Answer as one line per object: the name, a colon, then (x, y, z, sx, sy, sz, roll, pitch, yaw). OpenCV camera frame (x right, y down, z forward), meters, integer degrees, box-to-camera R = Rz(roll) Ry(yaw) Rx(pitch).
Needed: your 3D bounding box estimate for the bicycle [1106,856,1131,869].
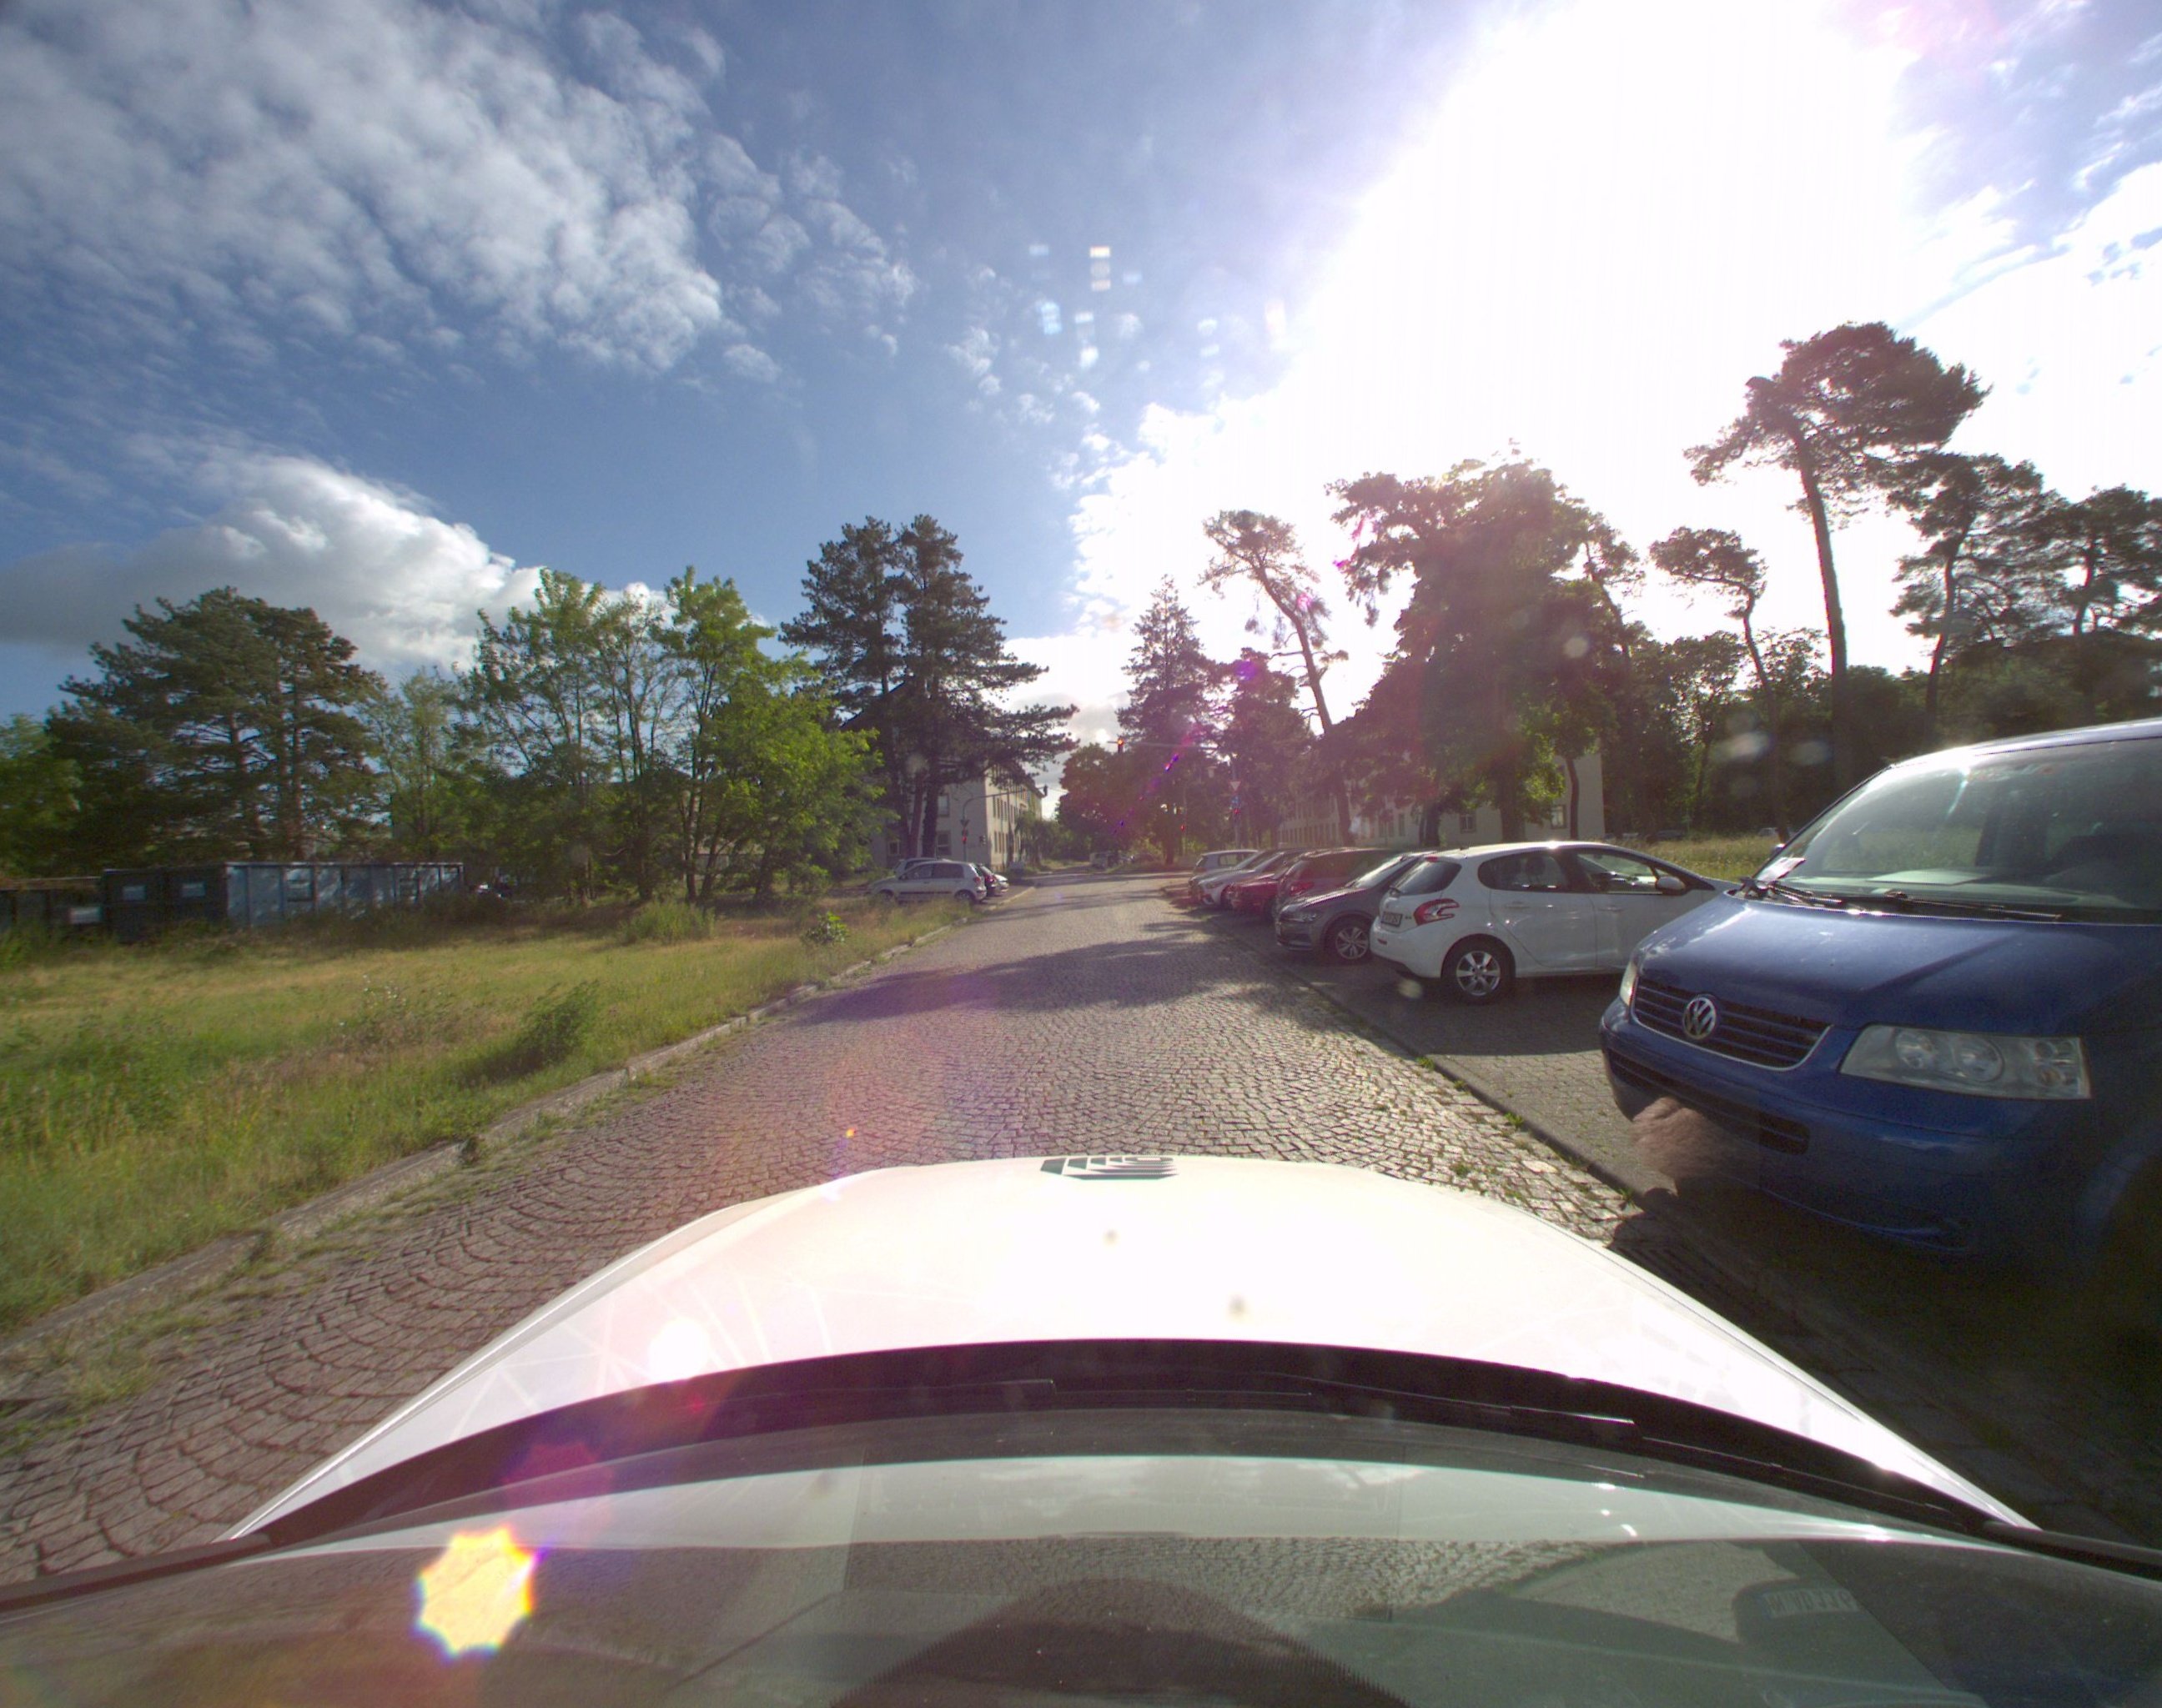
bicycle: (3.522, 0.767, 75.952, 2.172, 1.100, 0.804, -2, 0, -9)

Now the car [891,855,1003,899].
car: (-5.148, 0.871, 31.688, 3.973, 1.601, 2.000, 1, 0, 0)

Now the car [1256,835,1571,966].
car: (4.476, 0.603, 11.357, 3.663, 1.467, 1.645, -4, 0, 0)

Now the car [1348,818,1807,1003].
car: (4.915, 0.532, 8.461, 3.680, 1.465, 1.646, -4, 0, 2)

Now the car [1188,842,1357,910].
car: (4.977, 0.556, 21.503, 4.024, 1.529, 1.644, -3, 0, -3)

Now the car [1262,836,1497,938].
car: (5.116, 0.546, 14.267, 3.467, 1.529, 1.645, -3, 0, 0)

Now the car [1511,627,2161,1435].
car: (4.580, 0.343, 3.180, 4.664, 2.013, 2.082, -3, 0, -2)

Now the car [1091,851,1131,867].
car: (3.462, 0.586, 93.433, 4.465, 1.728, 2.000, -2, 0, 0)

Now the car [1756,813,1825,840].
car: (59.618, -2.295, 68.450, 3.973, 2.013, 2.001, -3, 0, 1)

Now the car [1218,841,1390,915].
car: (5.208, 0.544, 19.317, 3.591, 1.529, 1.645, -3, 0, 0)

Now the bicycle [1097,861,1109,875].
bicycle: (1.955, 1.251, 72.512, 0.803, 1.169, 2.177, -4, 0, -4)

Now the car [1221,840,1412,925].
car: (4.805, 0.560, 16.965, 3.467, 1.529, 1.645, -3, 0, 0)

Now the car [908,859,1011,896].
car: (-5.011, 0.969, 34.087, 3.973, 1.453, 2.000, 0, 0, 0)

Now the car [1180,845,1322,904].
car: (4.997, 0.580, 24.276, 3.823, 1.529, 1.645, -3, 0, 0)

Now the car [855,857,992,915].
car: (-5.000, 1.003, 26.293, 3.976, 1.600, 1.999, -3, 0, -2)

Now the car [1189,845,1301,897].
car: (5.366, 0.543, 26.912, 3.333, 1.482, 1.645, -3, 0, 0)

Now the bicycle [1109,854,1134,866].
bicycle: (3.815, 0.546, 77.087, 2.172, 1.100, 0.804, -2, 0, -9)
